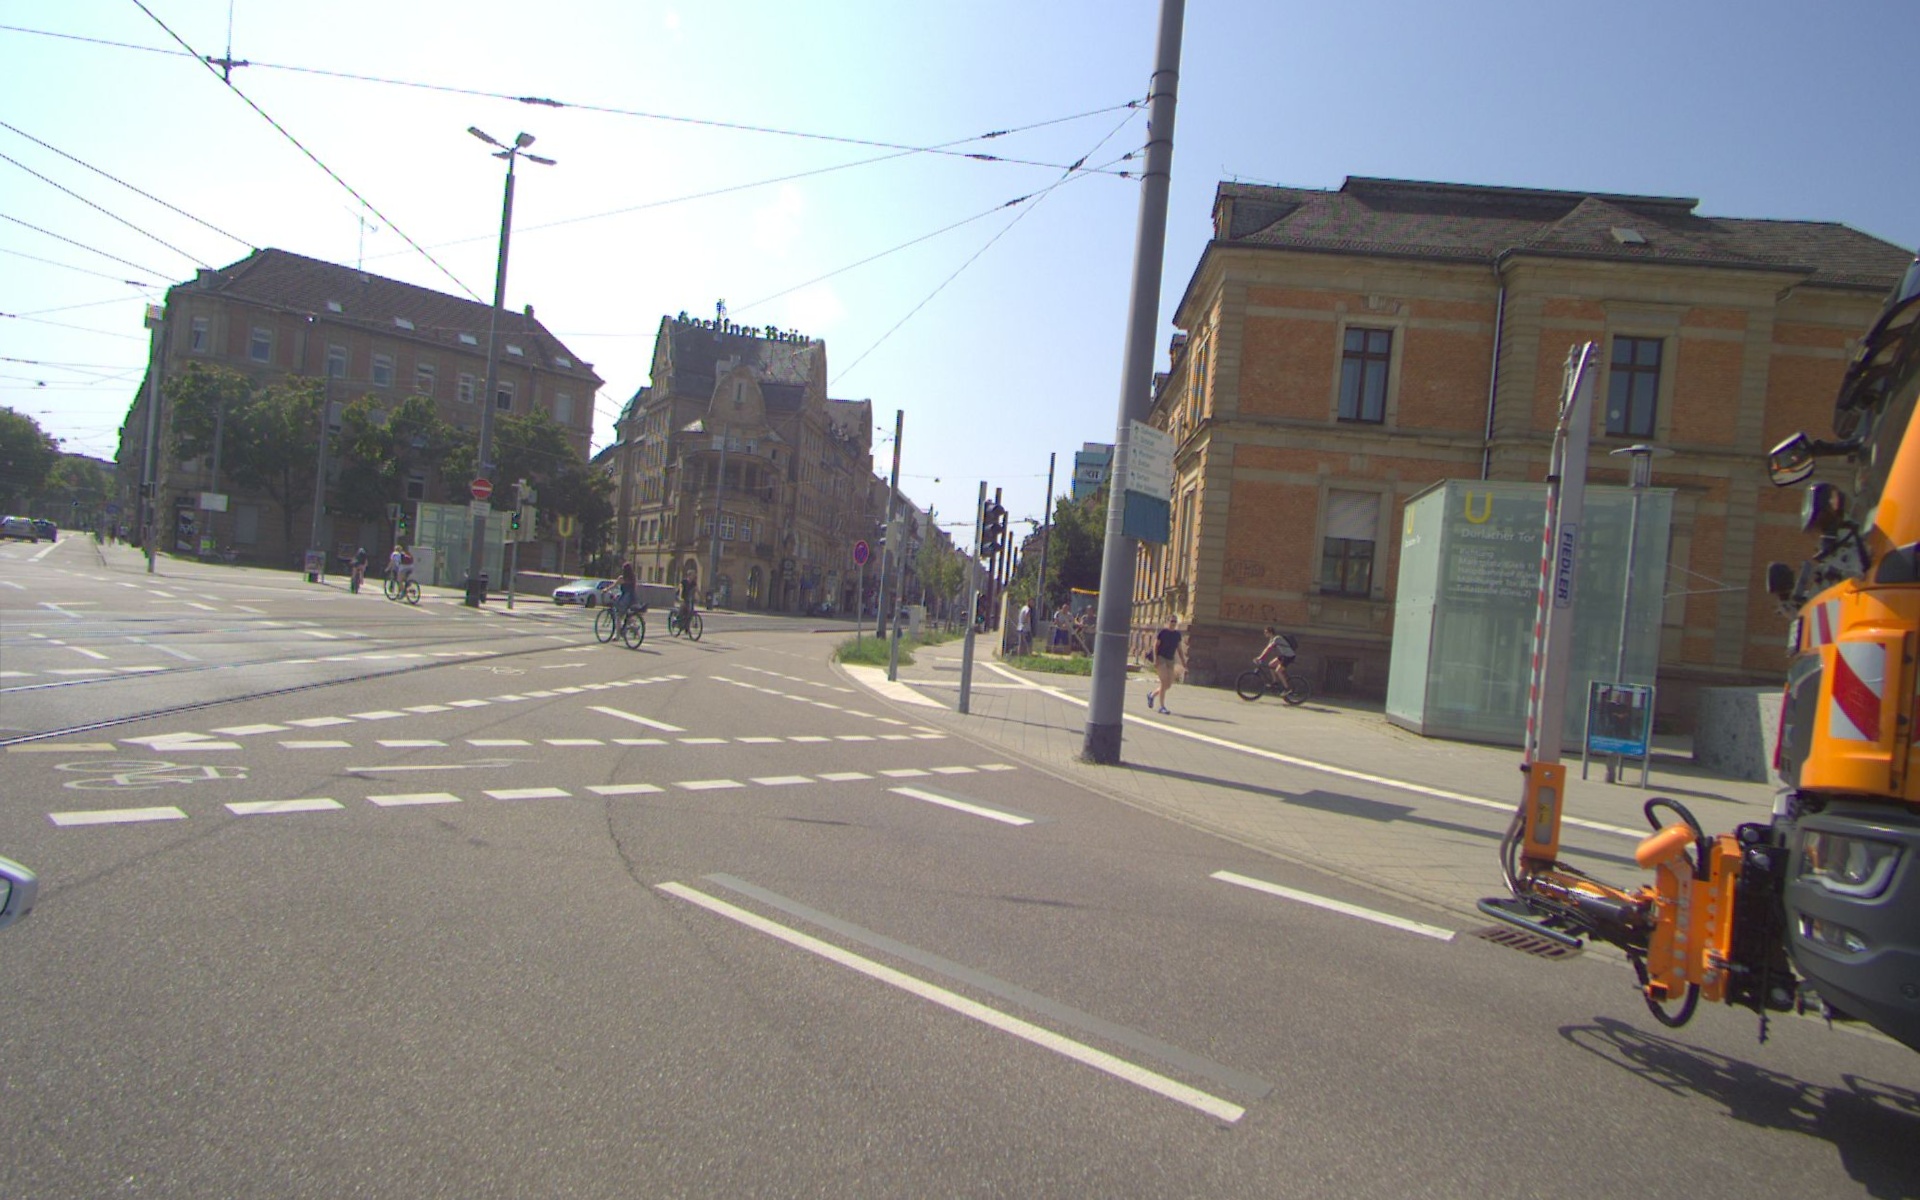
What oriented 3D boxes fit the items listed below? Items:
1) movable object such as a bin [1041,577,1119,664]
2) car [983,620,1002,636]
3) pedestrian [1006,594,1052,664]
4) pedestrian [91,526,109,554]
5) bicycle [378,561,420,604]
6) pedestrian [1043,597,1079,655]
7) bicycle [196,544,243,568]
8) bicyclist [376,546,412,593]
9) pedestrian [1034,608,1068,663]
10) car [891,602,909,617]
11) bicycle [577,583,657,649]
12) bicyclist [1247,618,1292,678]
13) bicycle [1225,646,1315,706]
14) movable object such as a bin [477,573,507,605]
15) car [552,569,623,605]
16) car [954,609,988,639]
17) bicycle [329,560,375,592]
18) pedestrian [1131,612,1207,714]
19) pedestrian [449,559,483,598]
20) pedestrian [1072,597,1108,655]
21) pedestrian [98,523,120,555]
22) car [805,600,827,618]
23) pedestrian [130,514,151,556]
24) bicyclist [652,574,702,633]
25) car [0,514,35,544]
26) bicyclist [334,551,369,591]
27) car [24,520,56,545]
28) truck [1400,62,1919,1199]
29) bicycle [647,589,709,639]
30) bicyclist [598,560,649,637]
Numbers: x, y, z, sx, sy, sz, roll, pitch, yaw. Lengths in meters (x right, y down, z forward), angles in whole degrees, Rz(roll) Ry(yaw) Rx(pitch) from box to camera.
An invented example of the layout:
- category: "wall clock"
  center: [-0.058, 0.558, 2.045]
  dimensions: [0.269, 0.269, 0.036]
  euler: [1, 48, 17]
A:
- category: "movable object such as a bin"
  center: [4.257, 0.735, 35.047]
  dimensions: [1.784, 2.705, 4.456]
  euler: [5, 0, 16]
- category: "car"
  center: [4.209, 3.623, 129.919]
  dimensions: [1.962, 1.703, 4.005]
  euler: [6, -2, 8]
- category: "pedestrian"
  center: [1.888, 0.796, 27.750]
  dimensions: [0.676, 1.836, 1.032]
  euler: [5, 1, -27]
- category: "pedestrian"
  center: [-66.021, -4.626, 77.251]
  dimensions: [0.799, 2.037, 0.790]
  euler: [5, -1, 41]
- category: "bicycle"
  center: [-16.261, -0.514, 29.163]
  dimensions: [1.620, 1.125, 0.439]
  euler: [5, 0, 40]
- category: "pedestrian"
  center: [3.098, 0.795, 30.911]
  dimensions: [0.676, 1.693, 0.681]
  euler: [5, 1, -27]
- category: "bicycle"
  center: [-36.222, -2.135, 49.217]
  dimensions: [0.456, 0.969, 1.778]
  euler: [6, 0, 43]
- category: "bicyclist"
  center: [-16.255, -0.873, 28.893]
  dimensions: [0.635, 1.270, 0.655]
  euler: [6, 1, 39]
- category: "pedestrian"
  center: [2.907, 1.131, 32.222]
  dimensions: [0.676, 1.693, 0.681]
  euler: [5, 1, -27]
- category: "car"
  center: [-9.043, 1.393, 152.461]
  dimensions: [1.962, 2.039, 4.001]
  euler: [5, 0, 5]
- category: "bicycle"
  center: [-7.078, 0.316, 20.722]
  dimensions: [2.097, 1.126, 0.439]
  euler: [8, 2, 40]
- category: "bicyclist"
  center: [6.981, 1.078, 22.739]
  dimensions: [0.848, 1.249, 1.102]
  euler: [5, 0, 17]
- category: "bicycle"
  center: [6.966, 1.695, 22.663]
  dimensions: [1.820, 1.125, 0.713]
  euler: [5, 0, 16]
- category: "movable object such as a bin"
  center: [-17.378, -0.411, 37.379]
  dimensions: [0.812, 1.098, 1.030]
  euler: [6, -2, -32]
- category: "car"
  center: [-17.807, -0.597, 48.260]
  dimensions: [1.557, 1.303, 3.732]
  euler: [6, -2, 7]
- category: "car"
  center: [0.926, 1.984, 82.076]
  dimensions: [1.962, 2.037, 4.005]
  euler: [5, -2, 11]
- category: "bicycle"
  center: [-21.950, -0.874, 36.290]
  dimensions: [2.341, 1.011, 0.643]
  euler: [5, 0, 40]
- category: "pedestrian"
  center: [3.543, 1.052, 17.112]
  dimensions: [0.782, 1.629, 0.945]
  euler: [3, 1, -21]
- category: "pedestrian"
  center: [-18.550, -0.805, 37.765]
  dimensions: [0.802, 1.368, 0.719]
  euler: [6, 1, 24]
- category: "pedestrian"
  center: [3.998, 0.790, 30.912]
  dimensions: [0.676, 1.693, 0.681]
  euler: [5, 1, -27]
- category: "pedestrian"
  center: [-57.784, -4.133, 68.312]
  dimensions: [0.799, 2.037, 0.838]
  euler: [5, -1, 41]
- category: "car"
  center: [-13.344, 0.854, 93.471]
  dimensions: [1.349, 1.414, 3.259]
  euler: [6, -2, 3]
- category: "pedestrian"
  center: [-41.574, -3.288, 51.023]
  dimensions: [0.647, 2.039, 0.694]
  euler: [5, 1, -45]
- category: "bicyclist"
  center: [-7.434, 0.094, 26.419]
  dimensions: [0.917, 1.441, 0.800]
  euler: [6, 1, 39]
- category: "car"
  center: [-58.115, -4.334, 61.761]
  dimensions: [3.567, 1.592, 1.728]
  euler: [4, -3, 45]
- category: "bicyclist"
  center: [-21.972, -1.033, 36.309]
  dimensions: [0.908, 1.336, 0.746]
  euler: [5, 1, 39]
- category: "car"
  center: [-64.436, -4.752, 70.422]
  dimensions: [1.505, 1.530, 3.579]
  euler: [5, 0, -44]
- category: "truck"
  center: [5.368, 0.458, 2.516]
  dimensions: [7.081, 3.268, 3.033]
  euler: [6, -1, 37]
- category: "bicycle"
  center: [-7.402, 0.359, 26.385]
  dimensions: [1.929, 1.140, 0.469]
  euler: [5, 0, 40]
- category: "bicyclist"
  center: [-6.900, -0.034, 20.632]
  dimensions: [0.635, 1.500, 0.655]
  euler: [6, 1, 39]
